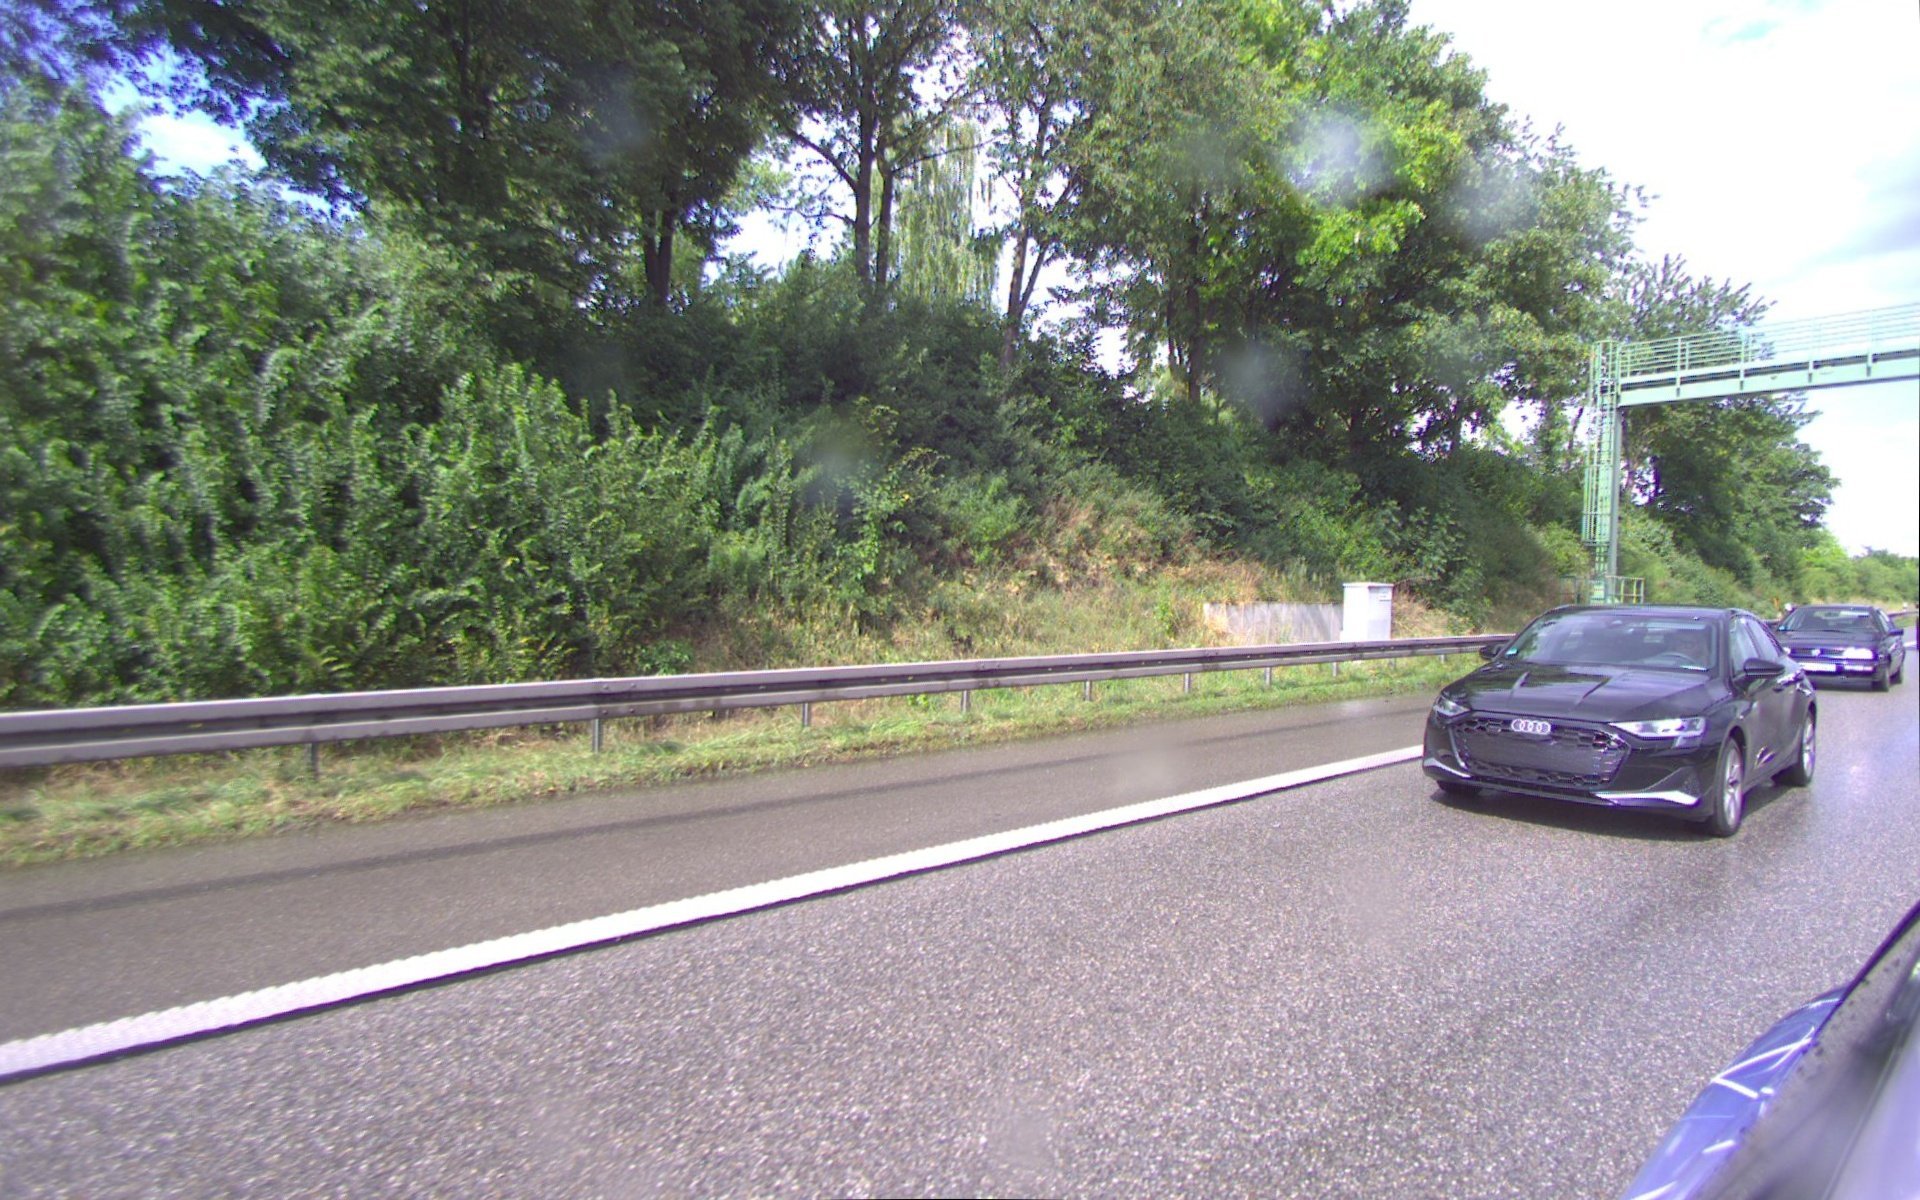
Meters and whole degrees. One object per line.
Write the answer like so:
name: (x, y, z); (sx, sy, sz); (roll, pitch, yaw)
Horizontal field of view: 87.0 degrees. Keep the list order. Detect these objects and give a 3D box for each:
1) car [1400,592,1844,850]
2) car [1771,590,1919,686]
car: (5.199, 0.657, 7.694); (4.292, 1.414, 1.758); (0, 1, -41)
car: (15.492, 0.582, 17.571); (3.681, 1.474, 1.653); (0, 1, -43)
